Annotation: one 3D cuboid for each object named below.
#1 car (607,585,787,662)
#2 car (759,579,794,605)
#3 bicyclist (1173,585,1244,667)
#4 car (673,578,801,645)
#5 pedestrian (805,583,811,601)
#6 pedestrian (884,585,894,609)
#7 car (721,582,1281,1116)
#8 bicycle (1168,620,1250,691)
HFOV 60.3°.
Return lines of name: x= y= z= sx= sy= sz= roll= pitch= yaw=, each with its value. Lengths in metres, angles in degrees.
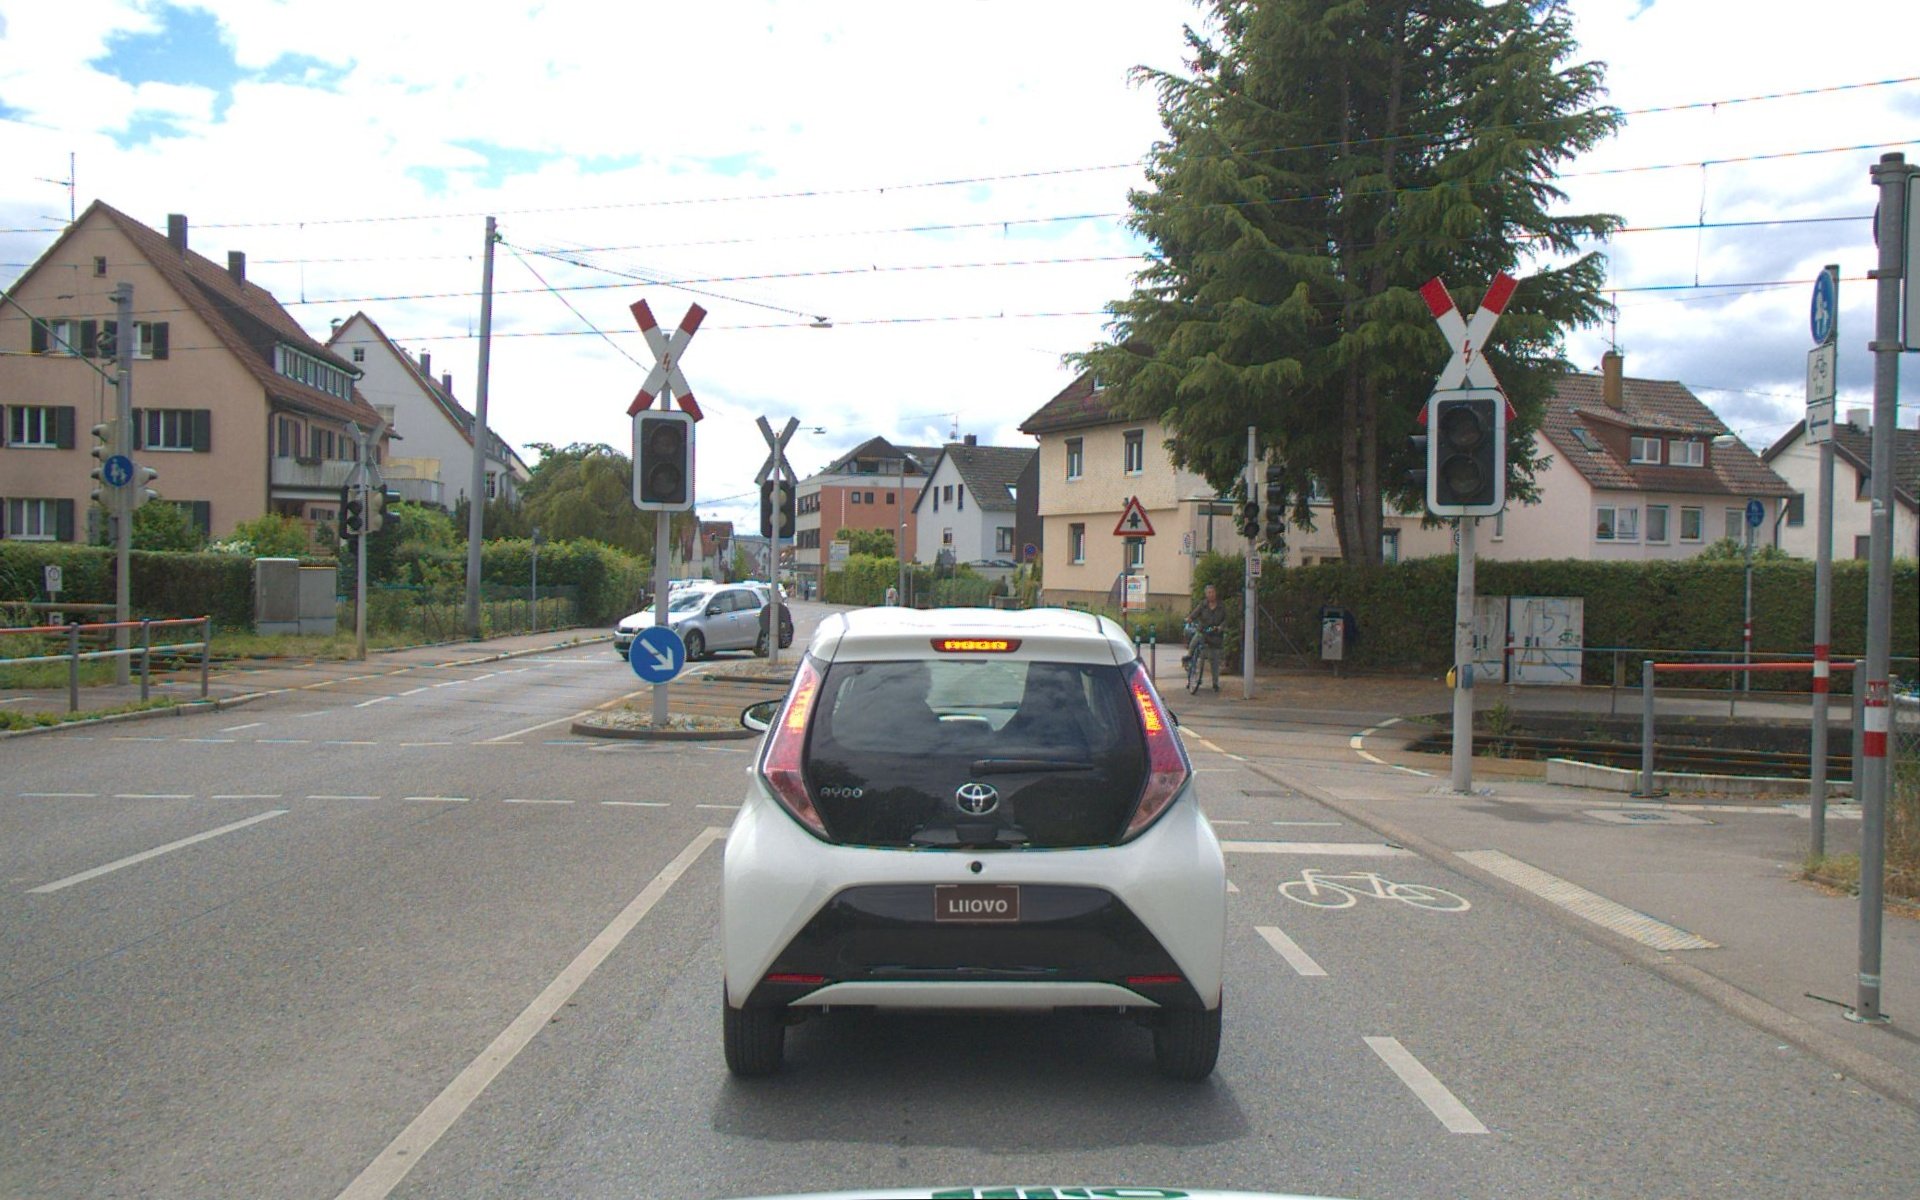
car: x=-5.394 y=0.455 z=34.426 sx=1.655 sy=1.484 sz=4.065 roll=-1 pitch=0 yaw=26
car: x=-11.498 y=-0.512 z=103.214 sx=1.744 sy=1.589 sz=4.156 roll=0 pitch=1 yaw=-12
bicyclist: x=3.955 y=0.405 z=26.292 sx=0.912 sy=1.269 sz=1.102 roll=0 pitch=0 yaw=21
car: x=-5.440 y=0.288 z=40.496 sx=1.551 sy=1.536 sz=2.772 roll=1 pitch=0 yaw=41
pedestrian: x=-12.870 y=-0.659 z=139.982 sx=0.406 sy=1.463 sz=0.436 roll=1 pitch=0 yaw=-11
pedestrian: x=-4.361 y=-0.160 z=101.552 sx=0.434 sy=1.463 sz=0.408 roll=1 pitch=1 yaw=-40
car: x=0.093 y=0.721 z=6.724 sx=1.588 sy=1.512 sz=3.999 roll=1 pitch=0 yaw=-1
bicycle: x=3.988 y=0.861 z=26.383 sx=0.912 sy=1.058 sz=1.915 roll=0 pitch=0 yaw=20
